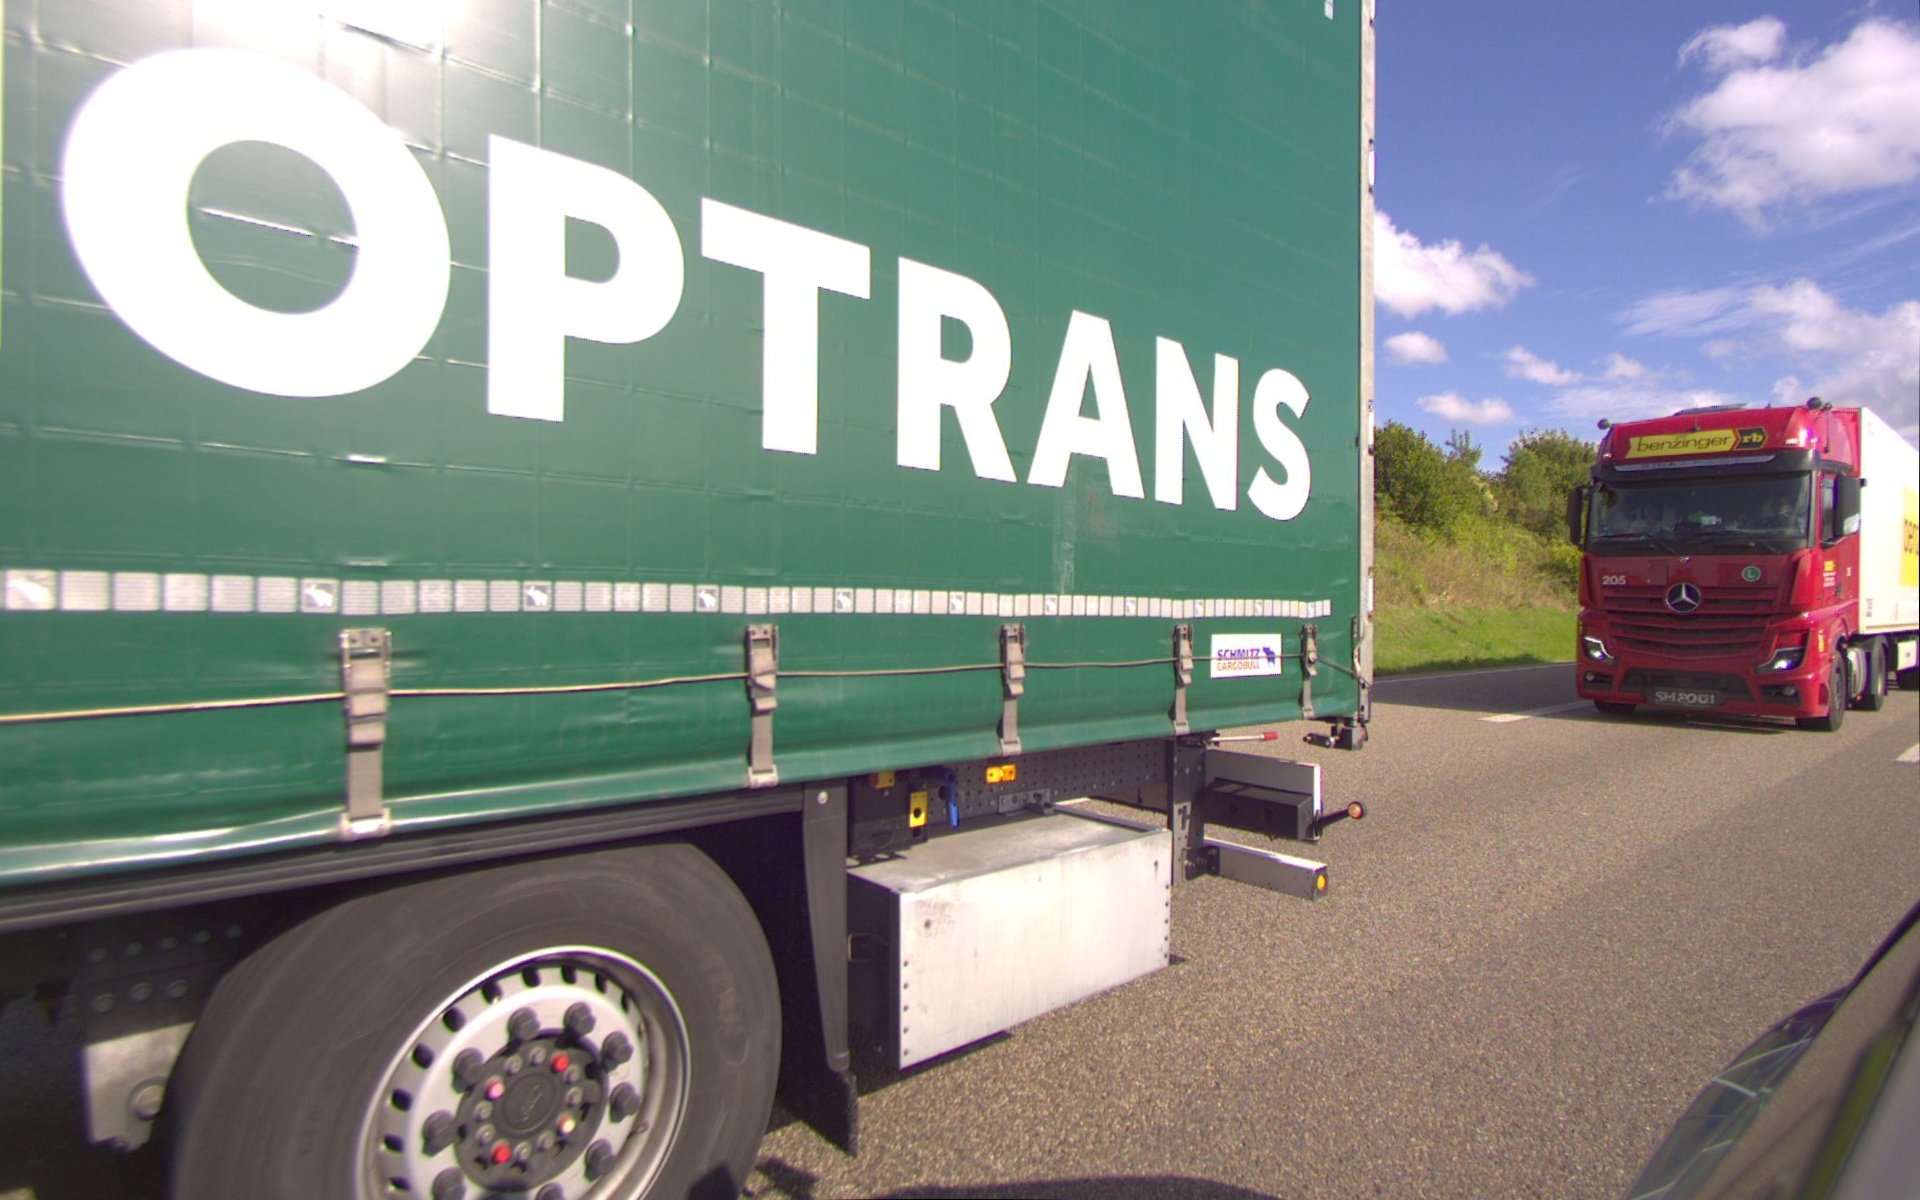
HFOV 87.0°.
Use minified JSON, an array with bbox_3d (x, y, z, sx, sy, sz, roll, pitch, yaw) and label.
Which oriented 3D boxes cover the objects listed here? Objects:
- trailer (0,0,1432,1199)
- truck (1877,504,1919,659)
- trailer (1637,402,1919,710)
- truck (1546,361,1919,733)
[{"bbox_3d":[-4.159,-0.562,0.323,13.160,3.917,2.666,0,0,-41],"label":"trailer"},{"bbox_3d":[29.581,-0.548,29.555,10.024,4.091,2.744,0,-3,-41],"label":"truck"},{"bbox_3d":[16.006,-0.606,18.334,12.839,3.989,2.796,-1,-1,-40],"label":"trailer"},{"bbox_3d":[10.669,-0.579,13.769,5.722,3.989,2.807,0,-1,-40],"label":"truck"}]
